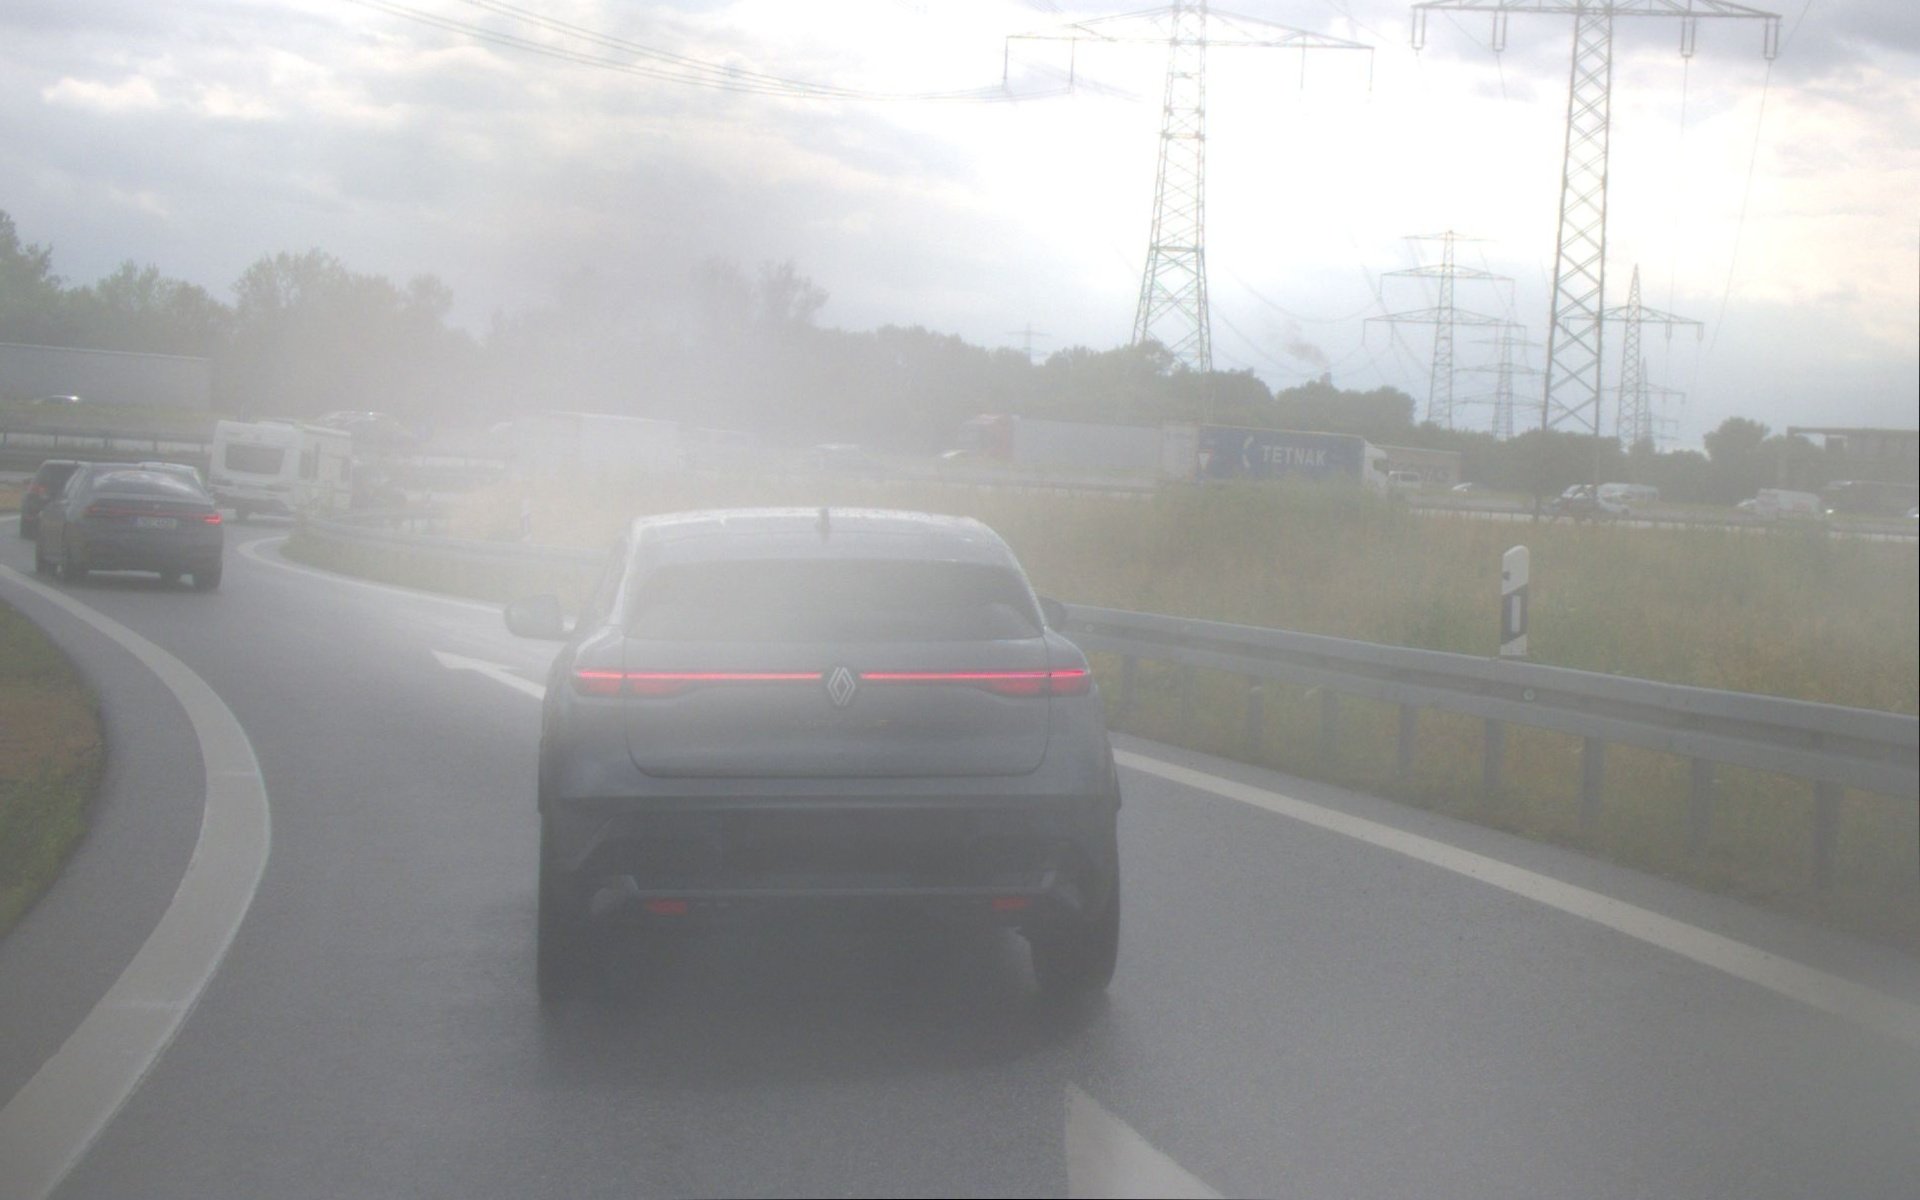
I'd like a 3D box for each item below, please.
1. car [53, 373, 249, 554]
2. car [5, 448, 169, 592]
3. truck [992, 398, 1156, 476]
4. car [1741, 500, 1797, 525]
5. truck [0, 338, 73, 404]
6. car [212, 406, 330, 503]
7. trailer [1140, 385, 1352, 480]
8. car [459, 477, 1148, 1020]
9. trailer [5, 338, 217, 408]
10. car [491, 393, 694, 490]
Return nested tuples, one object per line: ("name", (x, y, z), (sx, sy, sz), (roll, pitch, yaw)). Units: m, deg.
("car", (-10.407, -1.806, 43.930), (2.120, 2.011, 5.537), (2, 4, -16))
("car", (-15.989, -1.521, 63.214), (2.350, 2.298, 5.131), (2, 4, -9))
("truck", (7.187, -10.075, 213.658), (12.464, 4.109, 1.999), (2, 3, -45))
("car", (54.501, -5.901, 231.501), (1.998, 1.597, 3.991), (6, 5, 40))
("truck", (-46.209, -11.098, 165.573), (2.319, 3.015, 6.452), (6, 5, 43))
("car", (-17.997, -3.844, 90.004), (2.351, 2.298, 5.130), (2, 4, -4))
("trailer", (15.186, -8.790, 181.370), (13.267, 4.619, 3.056), (-1, 5, -45))
("car", (-0.602, 0.366, 12.097), (1.993, 1.561, 4.150), (1, 2, -4))
("trailer", (-41.925, -11.202, 170.093), (2.319, 3.015, 10.458), (6, 5, 43))
("car", (-12.058, -5.238, 113.596), (3.141, 2.941, 7.199), (5, 4, 27))
